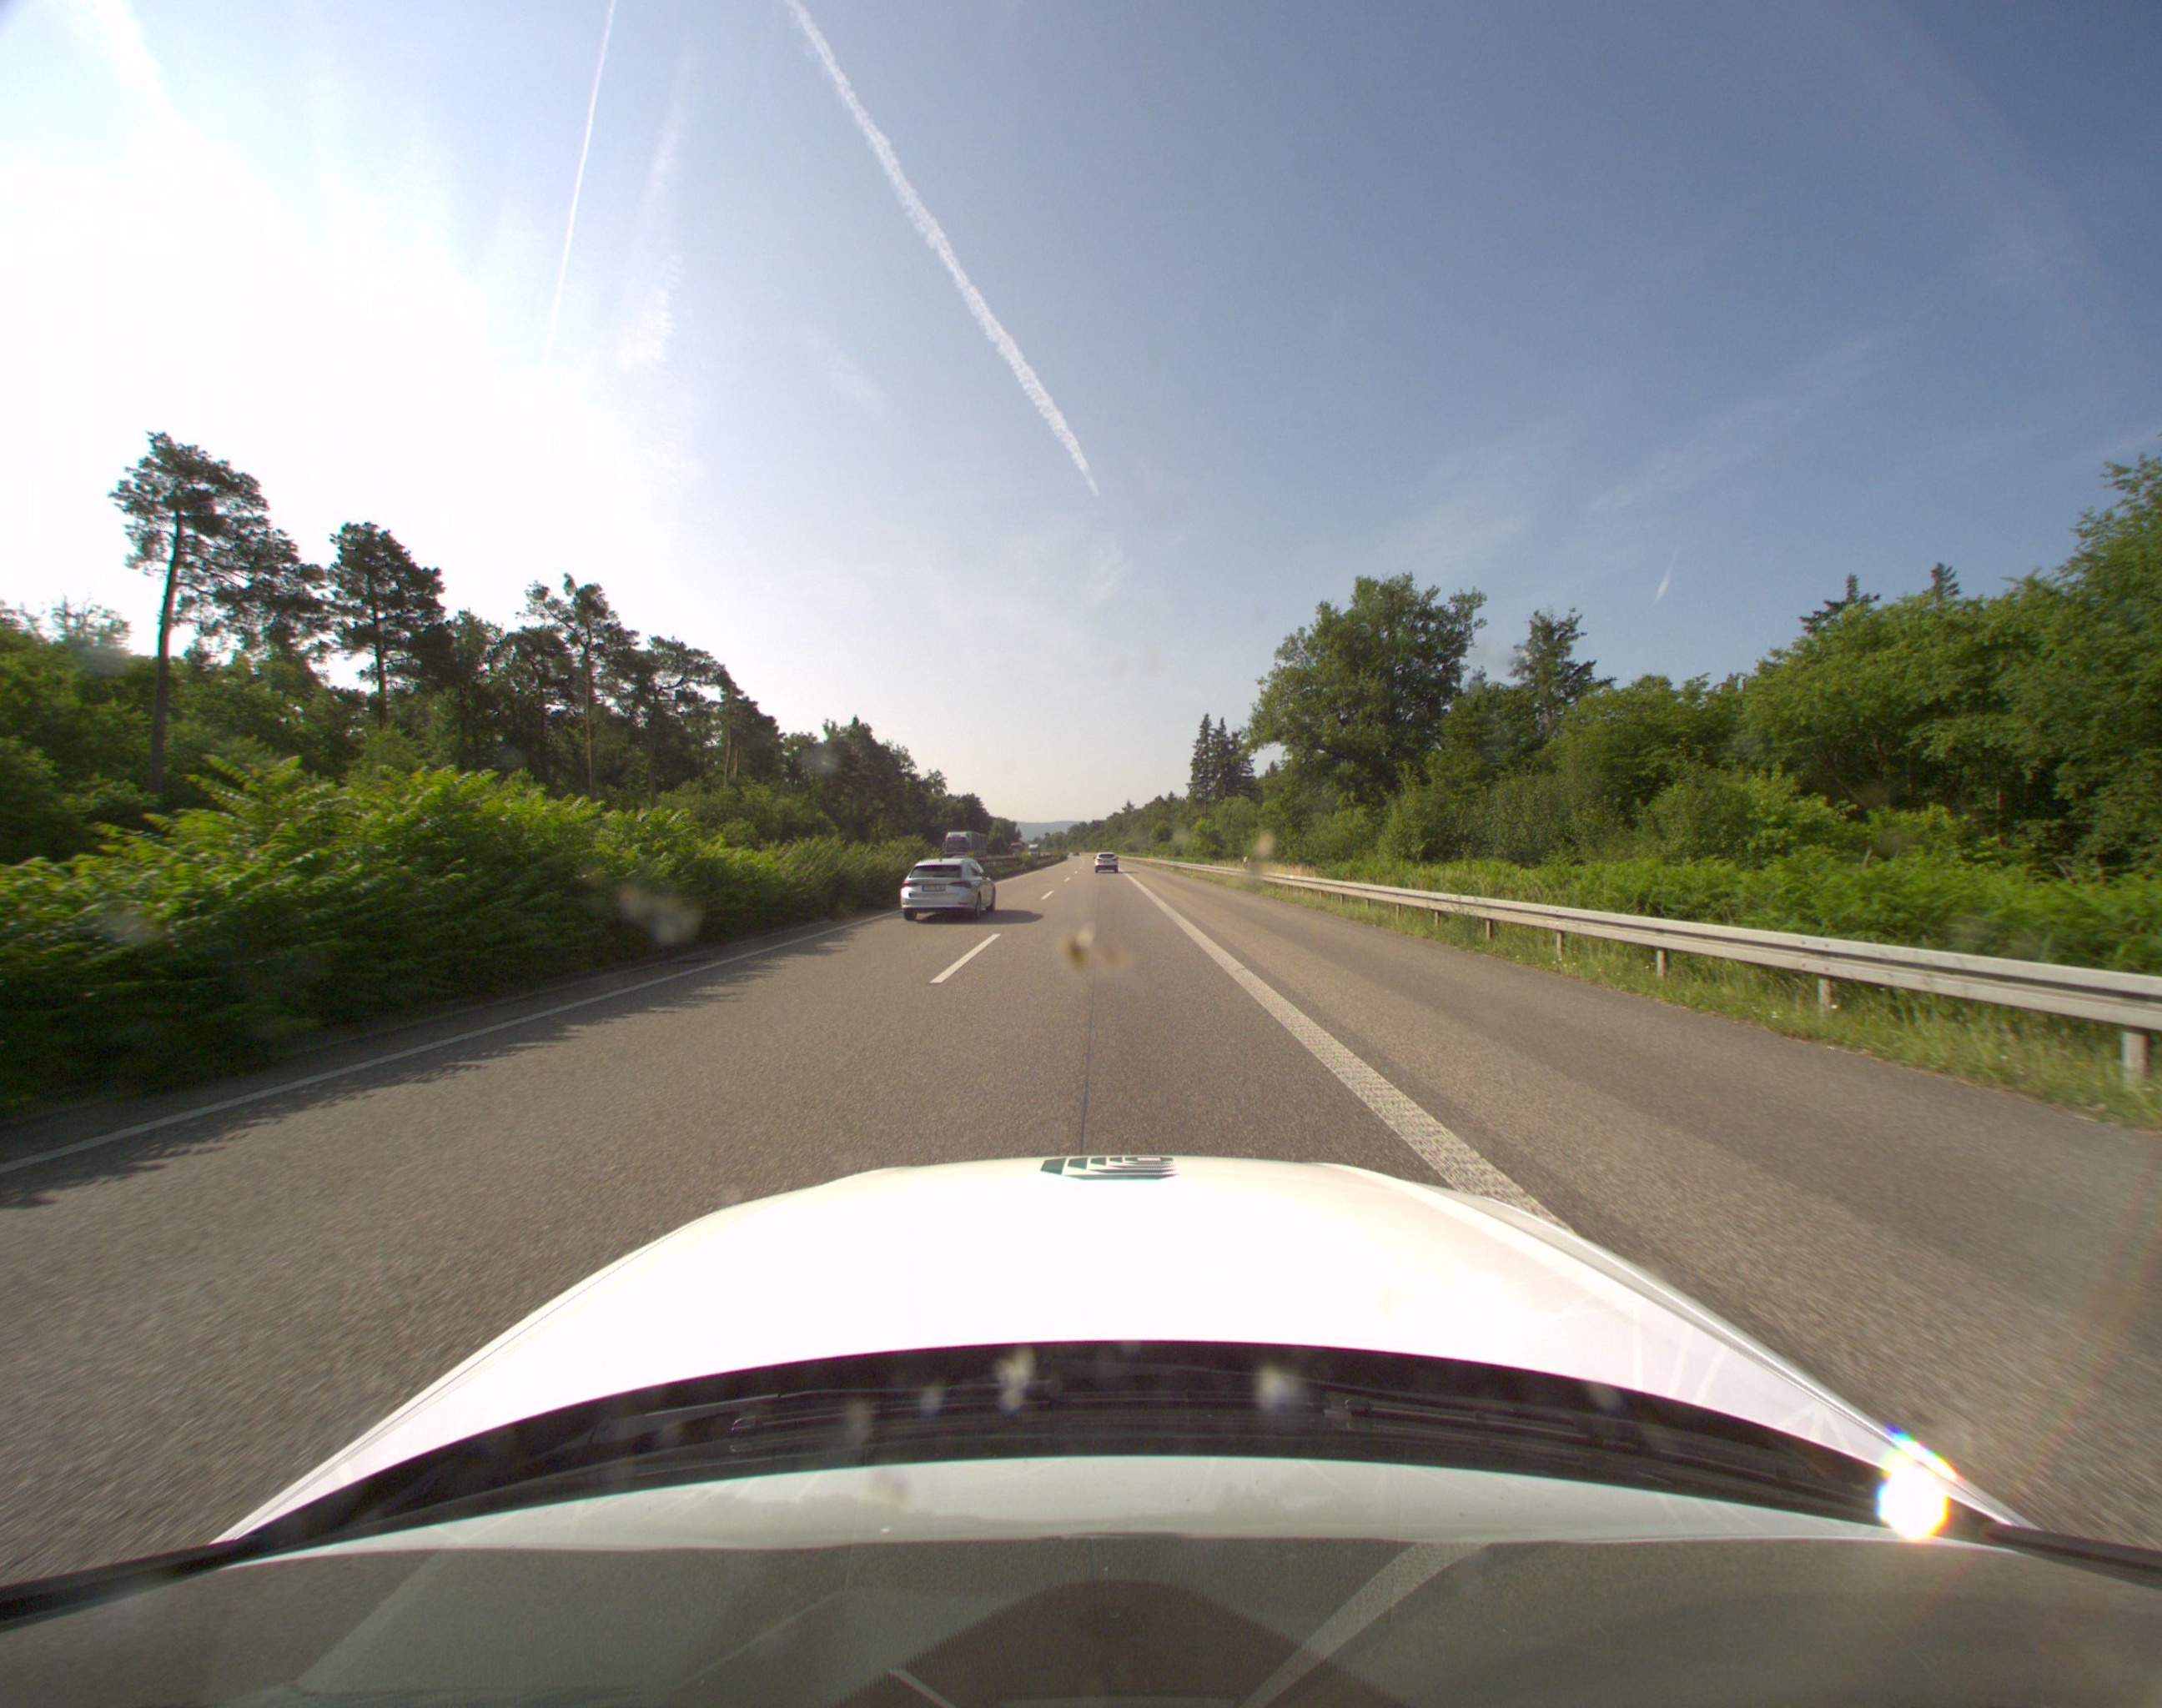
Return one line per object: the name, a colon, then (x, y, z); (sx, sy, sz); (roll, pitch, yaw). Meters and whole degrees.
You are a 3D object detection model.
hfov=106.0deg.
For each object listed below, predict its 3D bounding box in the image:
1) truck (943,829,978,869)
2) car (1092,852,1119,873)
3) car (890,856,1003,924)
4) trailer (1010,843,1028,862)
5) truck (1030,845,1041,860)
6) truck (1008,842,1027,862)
truck: (-13.211, -0.494, 89.764); (2.700, 4.200, 6.294); (-2, 0, 1)
car: (1.886, 0.623, 64.333); (1.868, 1.586, 3.997); (1, 0, -2)
car: (-3.243, 0.800, 20.762); (1.785, 1.438, 5.281); (-1, 0, 2)
trailer: (-13.122, -0.258, 173.458); (3.285, 4.039, 8.371); (0, -1, 0)
truck: (-13.038, -0.334, 234.649); (2.829, 4.196, 5.545); (-2, 0, 0)
truck: (-13.087, -0.378, 168.354); (3.256, 4.039, 6.231); (0, -1, 0)
